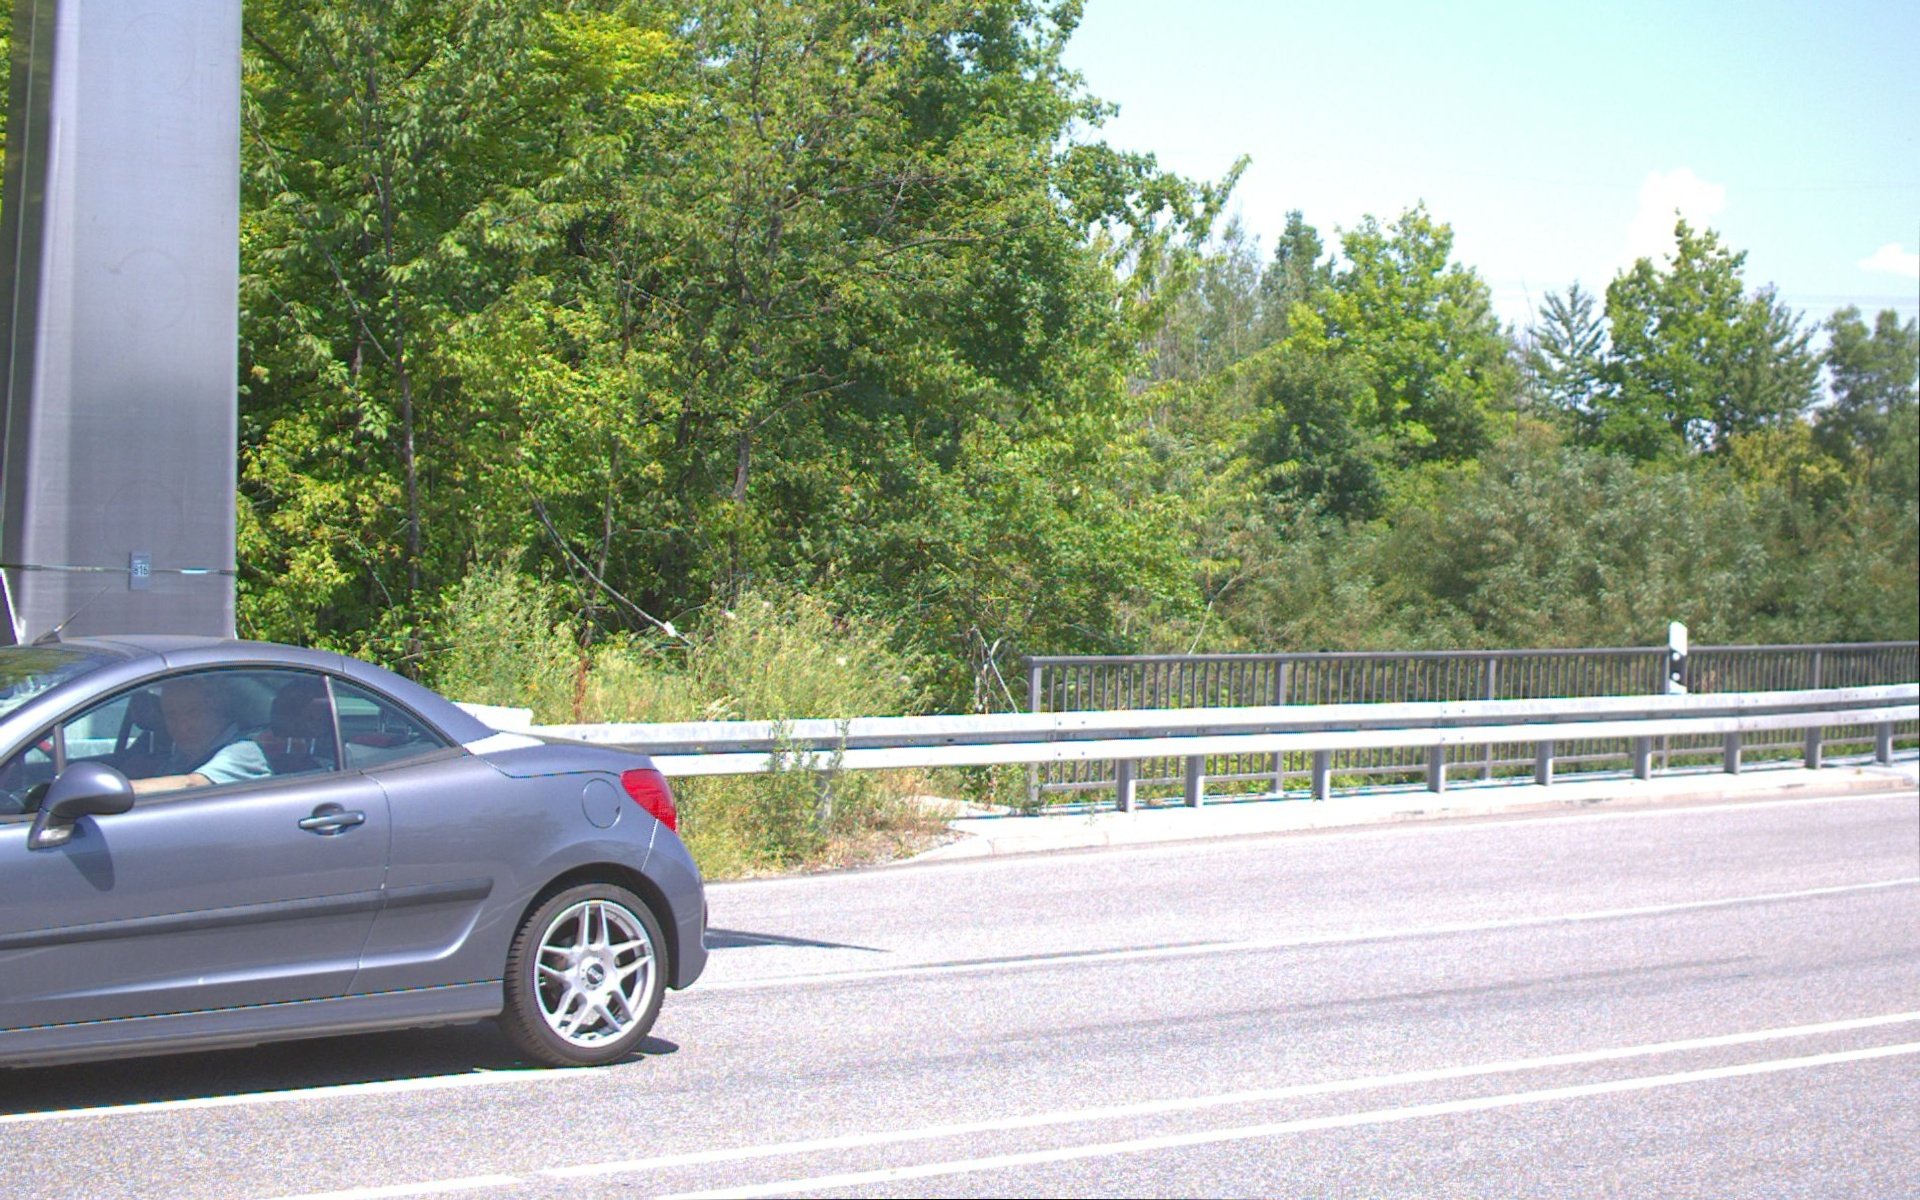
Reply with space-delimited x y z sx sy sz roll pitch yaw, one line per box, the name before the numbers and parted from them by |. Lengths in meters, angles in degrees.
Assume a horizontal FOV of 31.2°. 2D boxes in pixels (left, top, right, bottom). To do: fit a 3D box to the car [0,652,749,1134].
car | -2.738 0.847 10.749 3.957 1.347 1.650 0 -1 -41
